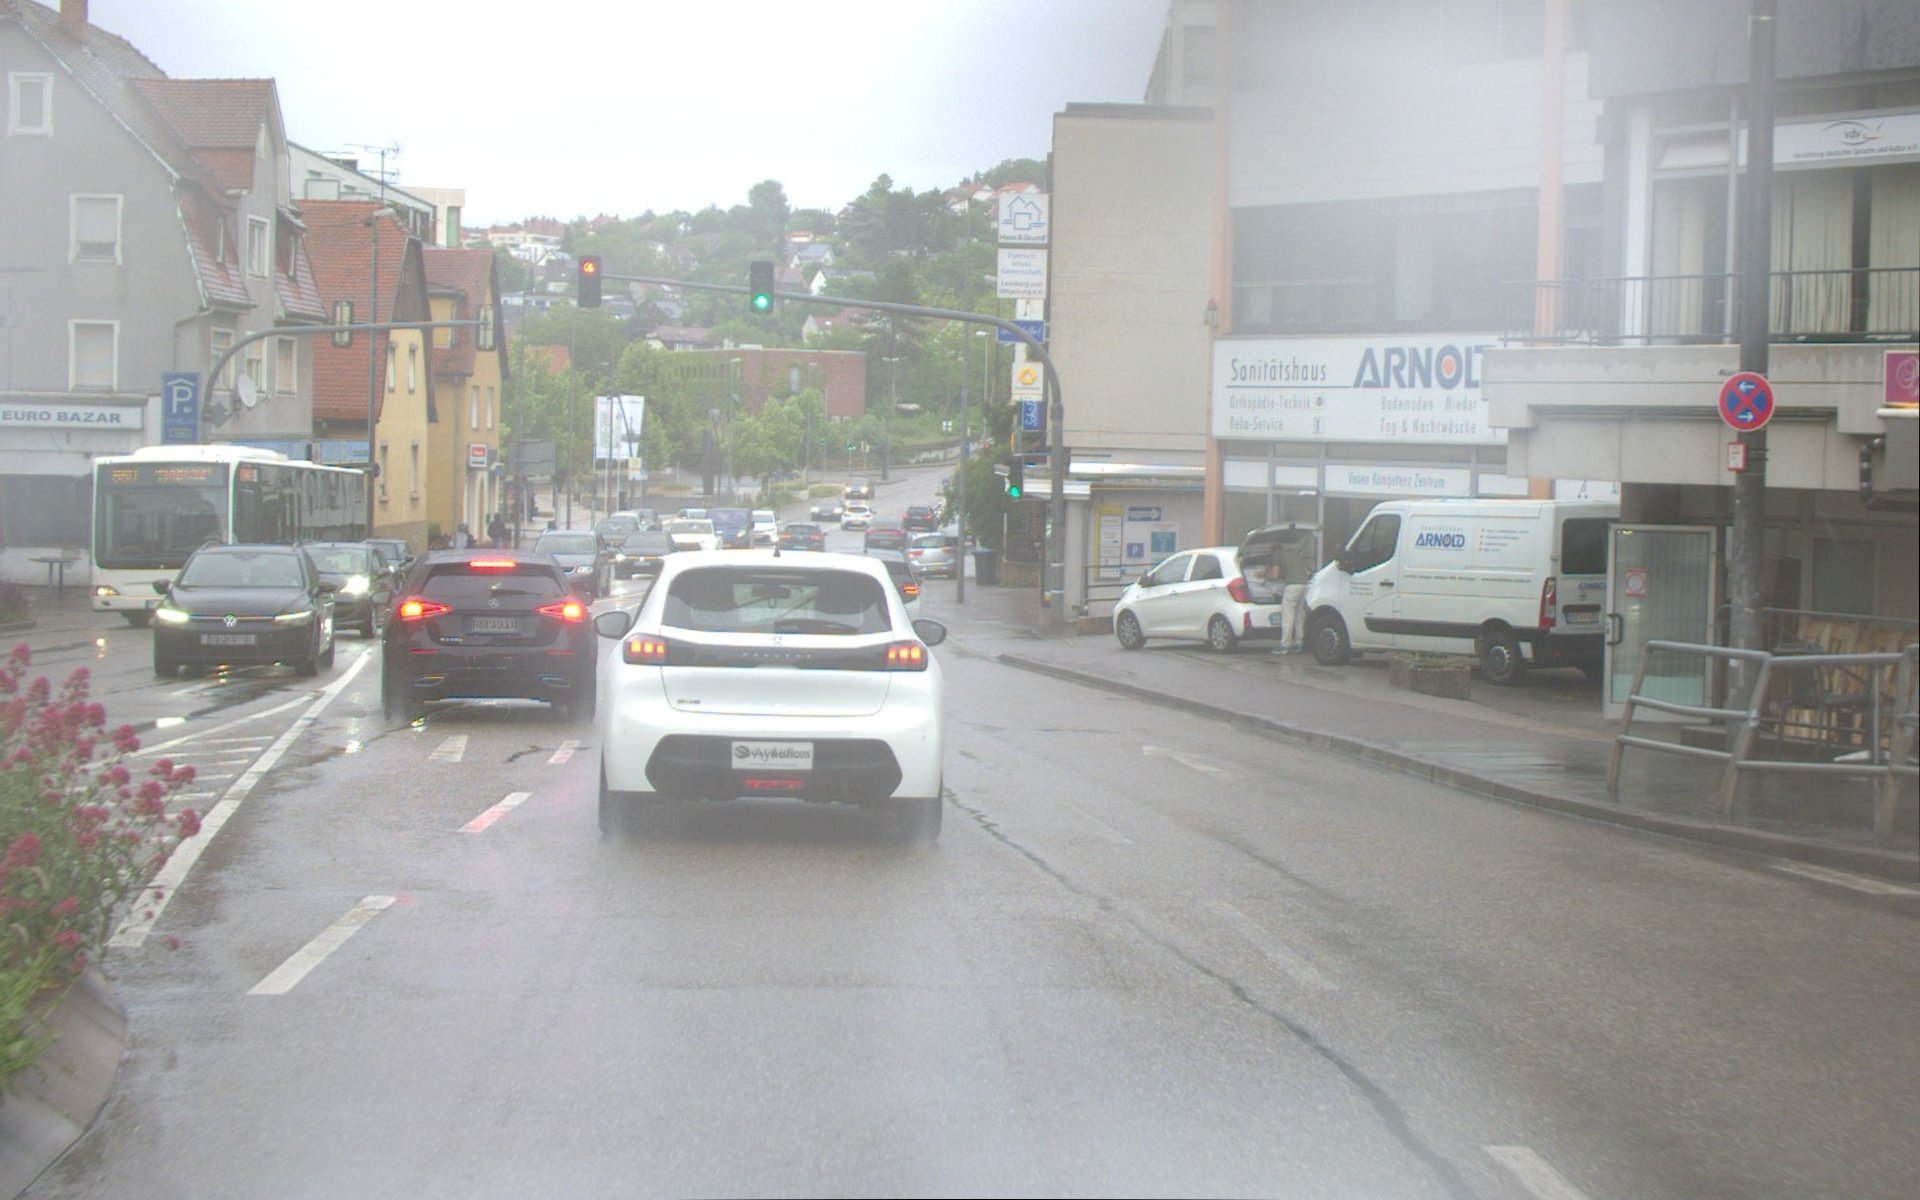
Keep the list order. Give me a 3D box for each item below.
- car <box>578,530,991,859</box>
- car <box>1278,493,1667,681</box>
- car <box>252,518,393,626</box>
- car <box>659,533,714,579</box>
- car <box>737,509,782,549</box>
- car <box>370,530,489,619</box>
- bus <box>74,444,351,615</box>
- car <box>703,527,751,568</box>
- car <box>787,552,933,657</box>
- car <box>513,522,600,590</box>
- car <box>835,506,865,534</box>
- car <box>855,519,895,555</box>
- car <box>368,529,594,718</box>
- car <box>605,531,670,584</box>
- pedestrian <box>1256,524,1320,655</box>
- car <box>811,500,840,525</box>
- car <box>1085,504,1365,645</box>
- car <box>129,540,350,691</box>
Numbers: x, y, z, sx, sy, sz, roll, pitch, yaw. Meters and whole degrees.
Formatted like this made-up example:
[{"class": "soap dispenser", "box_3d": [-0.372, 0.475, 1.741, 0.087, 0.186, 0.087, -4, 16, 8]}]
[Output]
[{"class": "car", "box_3d": [-1.005, 0.419, 18.112, 1.871, 1.457, 3.874, 3, 1, -5]}, {"class": "car", "box_3d": [6.527, -0.232, 44.326, 1.994, 2.219, 4.975, -1, 2, -36]}, {"class": "car", "box_3d": [-9.784, -0.459, 52.987, 1.815, 1.549, 4.001, 0, 2, -6]}, {"class": "car", "box_3d": [-9.696, -1.586, 122.281, 1.746, 1.549, 4.001, 0, 2, -2]}, {"class": "car", "box_3d": [-9.344, -3.333, 160.494, 1.786, 1.678, 4.001, 2, 2, 1]}, {"class": "car", "box_3d": [-10.070, -0.510, 65.439, 1.815, 1.549, 4.001, 0, 2, -3]}, {"class": "bus", "box_3d": [-13.154, -1.328, 61.370, 2.938, 2.773, 9.505, 1, 2, 0]}, {"class": "car", "box_3d": [-9.356, -2.130, 138.169, 1.746, 1.549, 4.001, 0, 2, -2]}, {"class": "car", "box_3d": [-1.539, 0.050, 51.856, 1.911, 1.395, 3.459, 2, 2, -6]}, {"class": "car", "box_3d": [-9.778, -1.087, 83.525, 1.746, 1.549, 4.001, 0, 2, -2]}, {"class": "car", "box_3d": [-6.362, -4.663, 199.008, 1.746, 1.549, 4.001, 0, 2, -2]}, {"class": "car", "box_3d": [-3.796, -2.804, 152.649, 1.746, 1.549, 4.001, 0, 2, -2]}, {"class": "car", "box_3d": [-4.213, 0.174, 30.172, 1.815, 1.524, 3.813, 1, 1, -8]}, {"class": "car", "box_3d": [-9.986, -1.339, 106.605, 1.746, 1.549, 4.001, 0, 2, -2]}, {"class": "pedestrian", "box_3d": [4.570, -0.153, 47.944, 0.640, 1.816, 0.583, 0, 2, -33]}, {"class": "car", "box_3d": [-8.444, -5.509, 216.088, 1.746, 1.549, 4.001, 0, 2, -2]}, {"class": "car", "box_3d": [3.765, -0.404, 49.475, 1.885, 1.872, 4.136, 0, 2, -32]}, {"class": "car", "box_3d": [-8.132, 0.136, 39.137, 1.892, 1.549, 4.001, 0, 2, -3]}]
